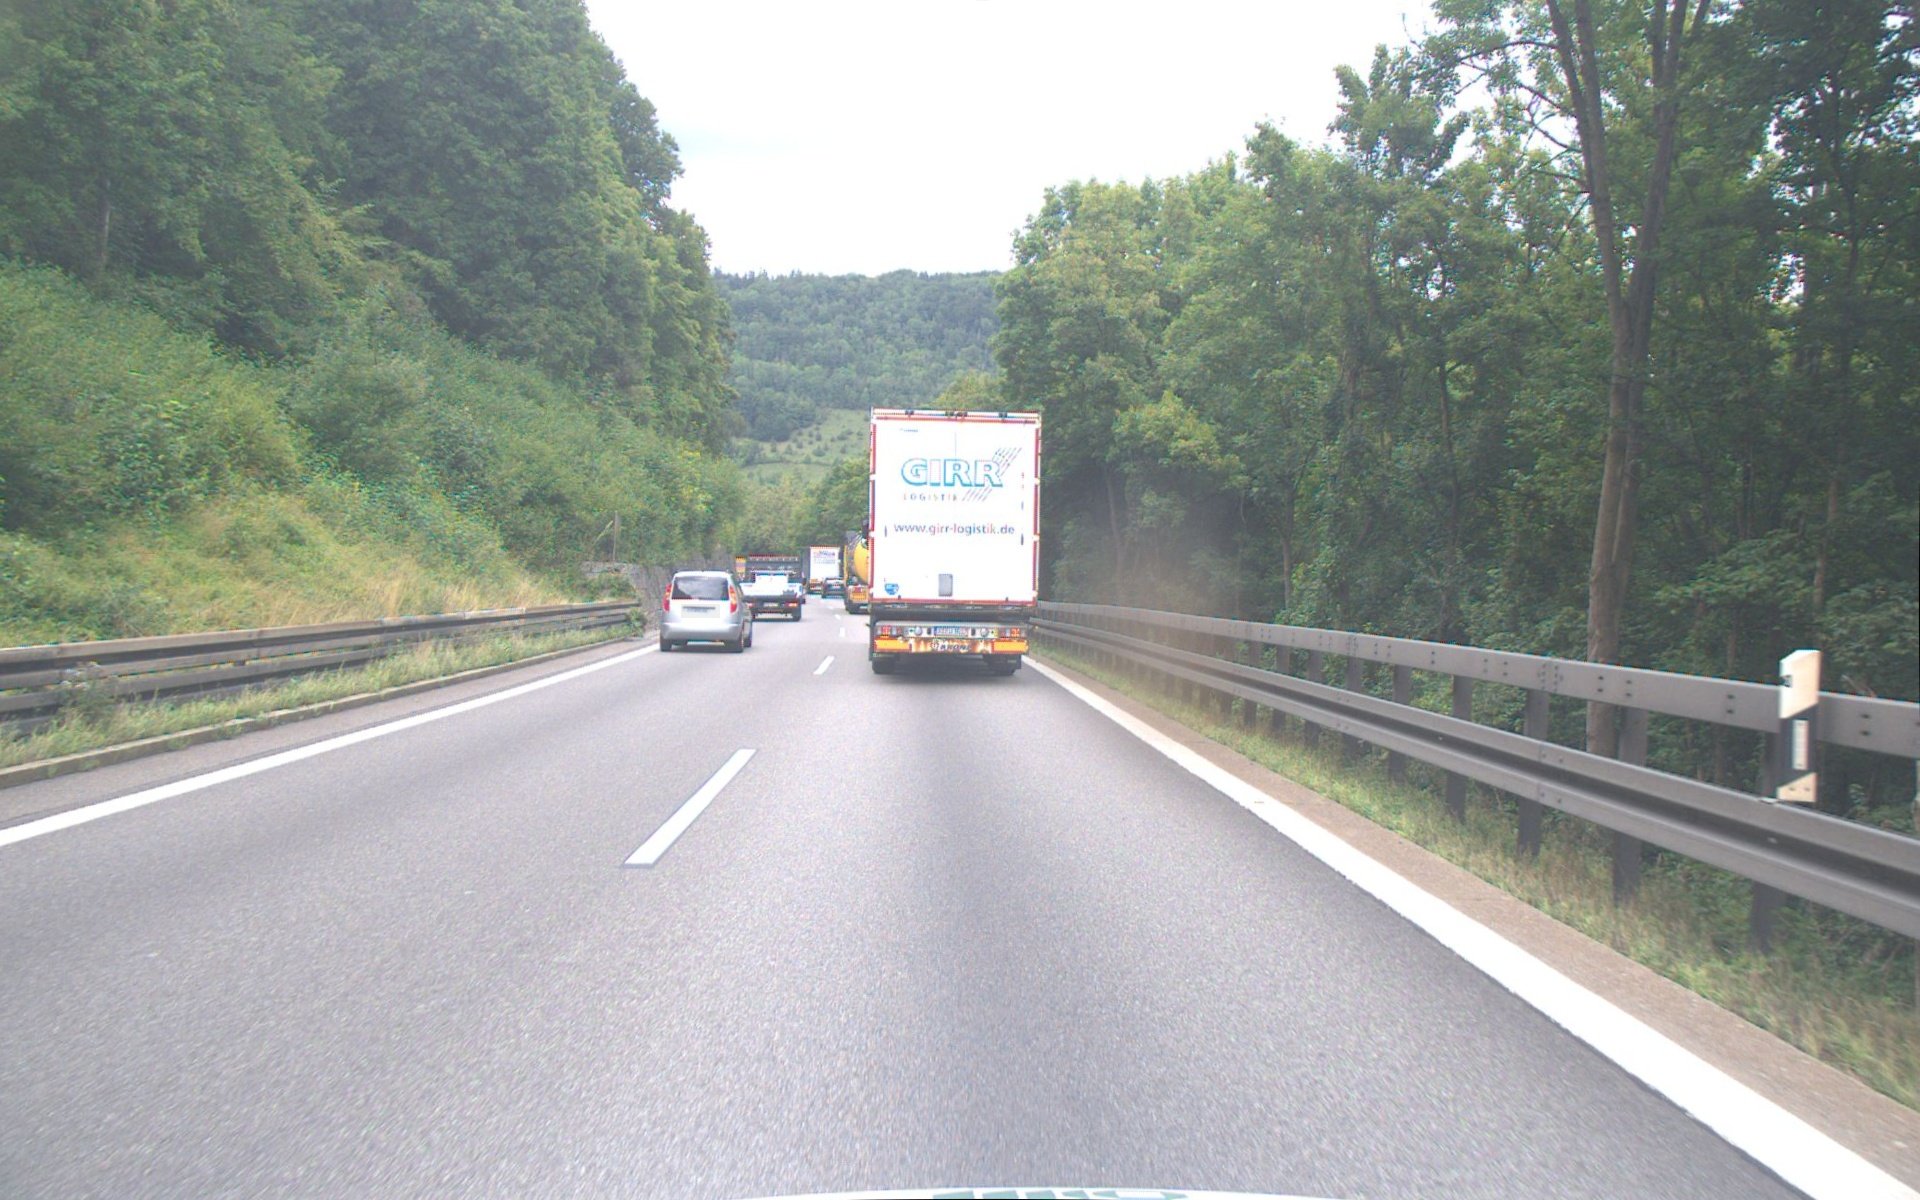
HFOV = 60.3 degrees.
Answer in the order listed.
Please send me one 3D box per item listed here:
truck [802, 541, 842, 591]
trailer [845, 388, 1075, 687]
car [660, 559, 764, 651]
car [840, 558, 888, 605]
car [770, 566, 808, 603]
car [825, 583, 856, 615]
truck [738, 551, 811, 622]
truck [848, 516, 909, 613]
[{"bbox_3d":[-11.697,-2.771,139.846,3.010,3.944,8.447,3,0,-6],"label":"truck"},{"bbox_3d":[-0.274,-0.961,28.669,3.071,4.112,9.433,4,1,-4],"label":"trailer"},{"bbox_3d":[-5.125,0.081,34.664,1.601,1.756,4.343,2,0,-2],"label":"car"},{"bbox_3d":[-4.550,-0.872,77.915,1.956,2.049,4.327,3,0,-7],"label":"car"},{"bbox_3d":[-9.798,-0.891,94.309,1.980,1.947,5.555,3,1,-7],"label":"car"},{"bbox_3d":[-8.338,-0.080,115.433,1.955,2.049,3.995,3,0,-6],"label":"car"},{"bbox_3d":[-6.627,-0.500,59.796,2.303,2.313,6.843,3,0,-5],"label":"truck"},{"bbox_3d":[-3.559,-1.460,71.047,2.190,3.870,6.816,3,0,-5],"label":"truck"}]
